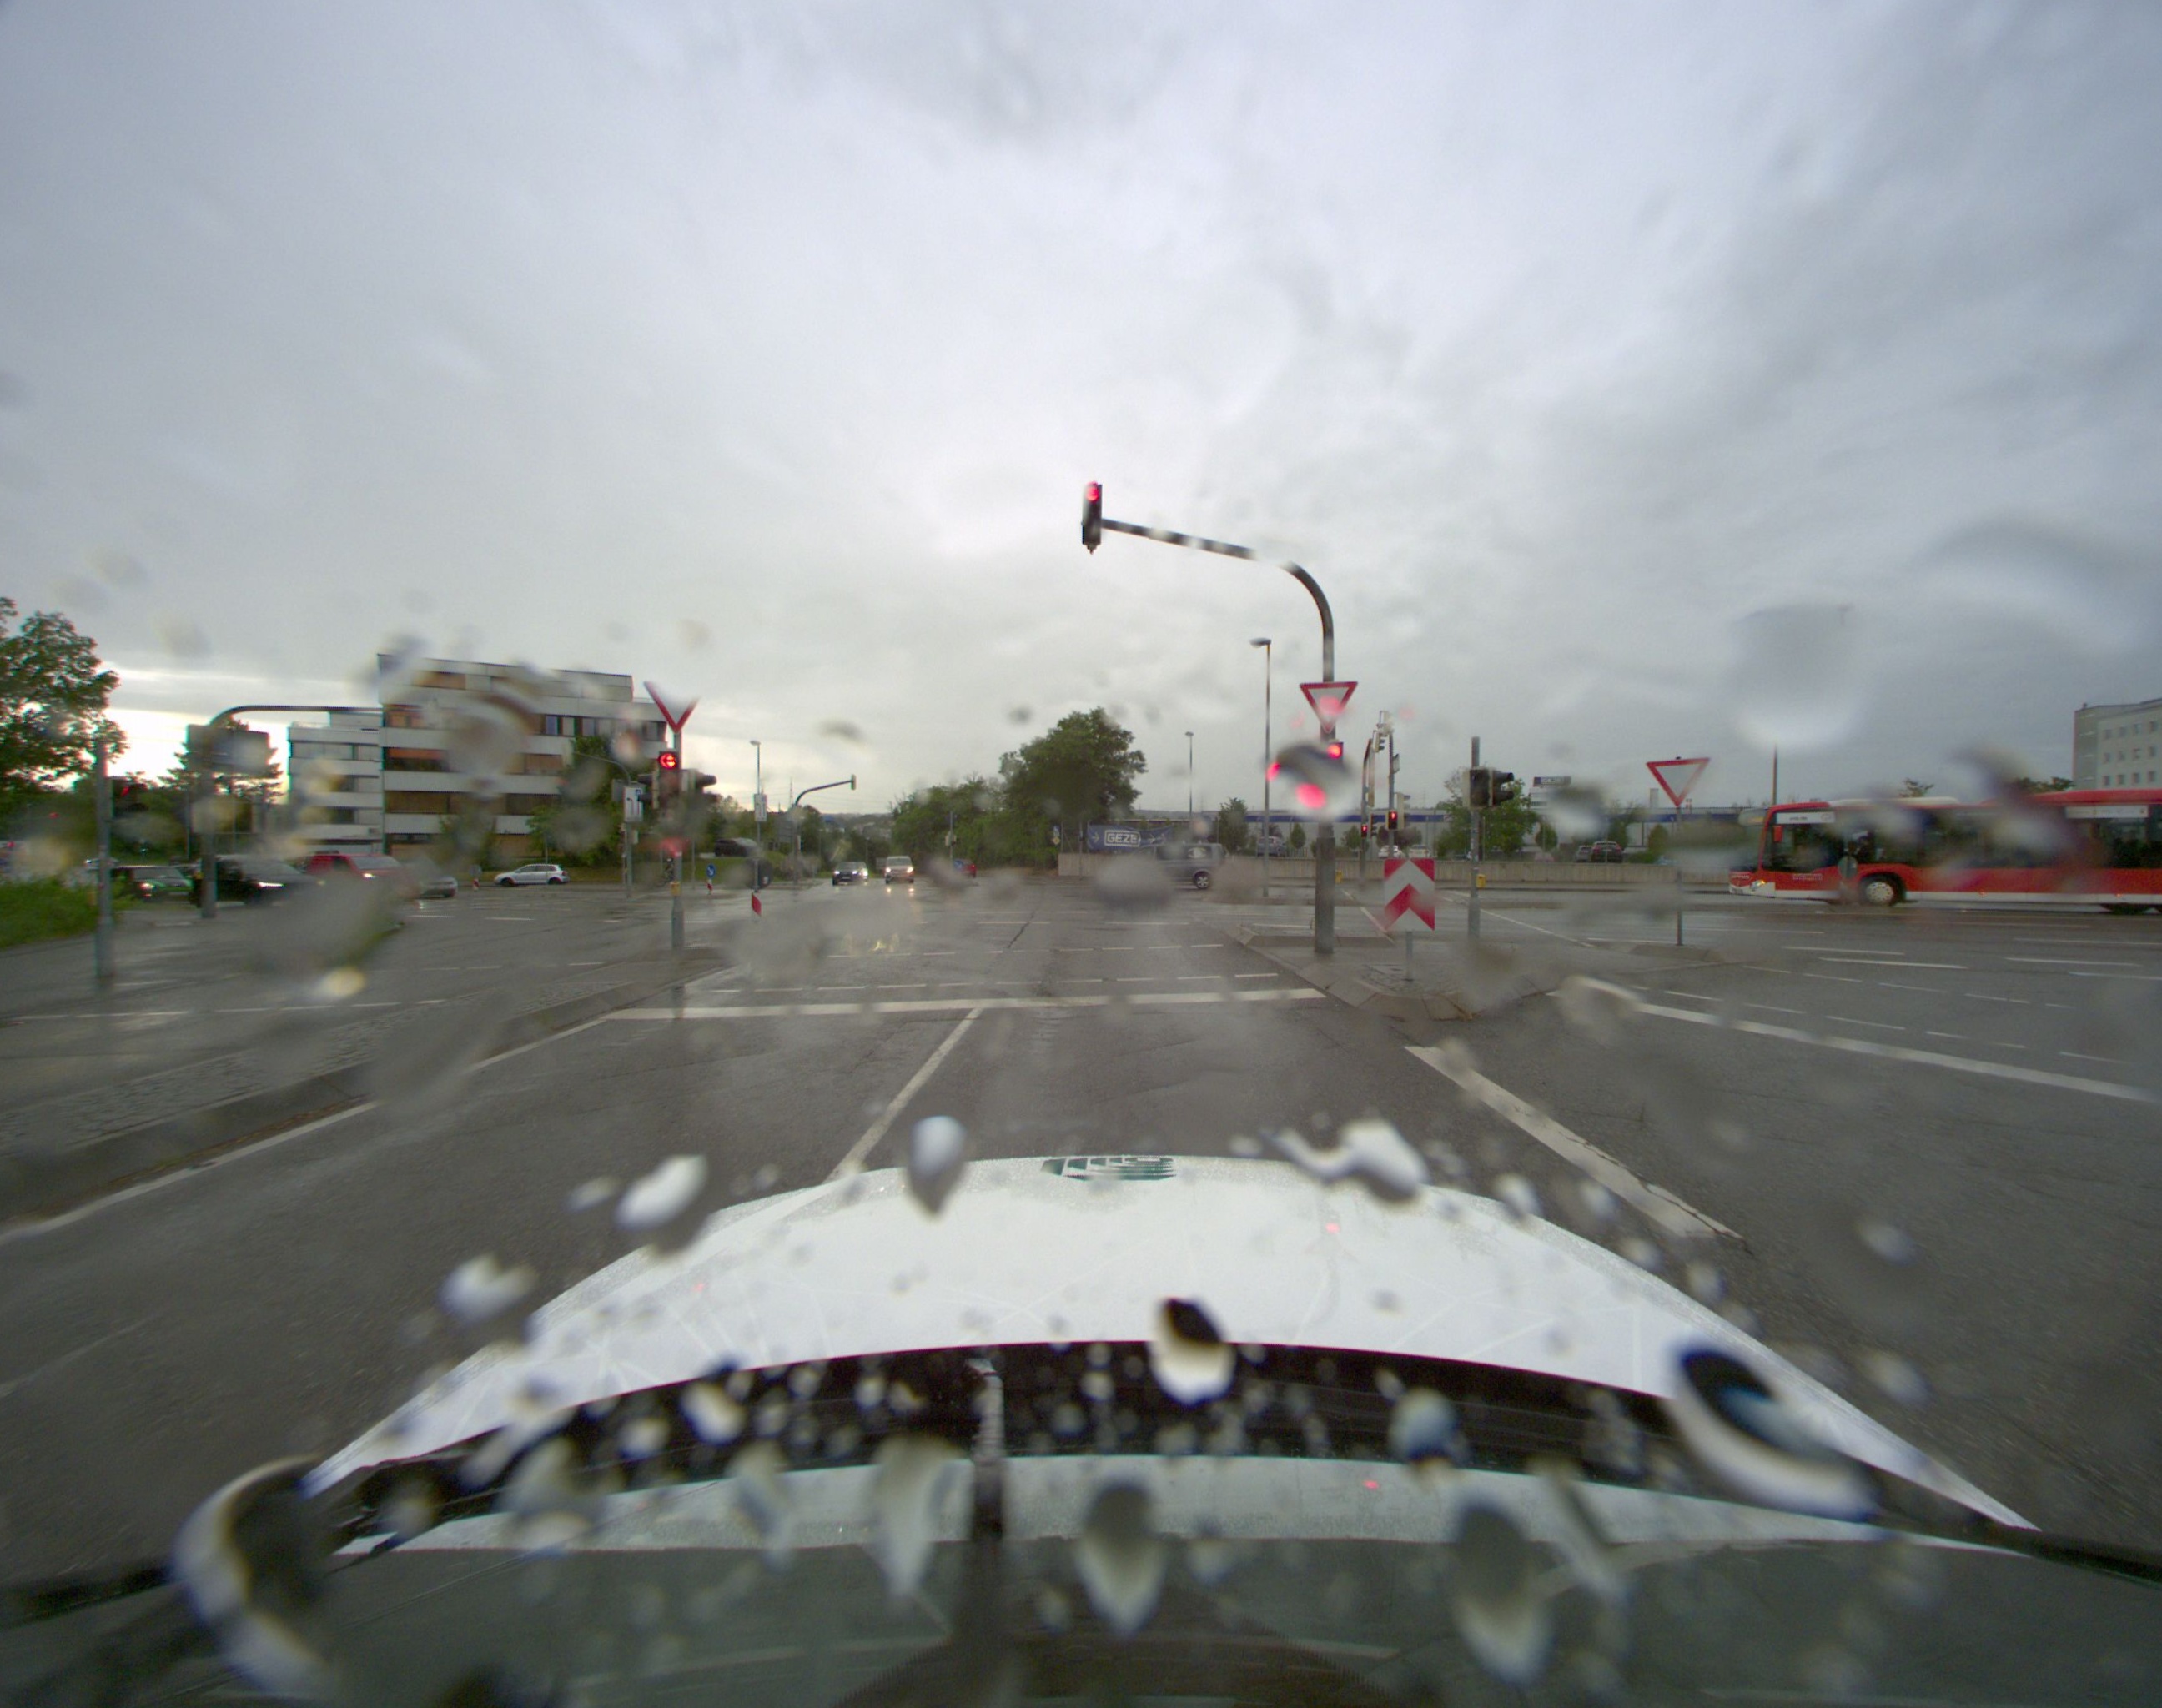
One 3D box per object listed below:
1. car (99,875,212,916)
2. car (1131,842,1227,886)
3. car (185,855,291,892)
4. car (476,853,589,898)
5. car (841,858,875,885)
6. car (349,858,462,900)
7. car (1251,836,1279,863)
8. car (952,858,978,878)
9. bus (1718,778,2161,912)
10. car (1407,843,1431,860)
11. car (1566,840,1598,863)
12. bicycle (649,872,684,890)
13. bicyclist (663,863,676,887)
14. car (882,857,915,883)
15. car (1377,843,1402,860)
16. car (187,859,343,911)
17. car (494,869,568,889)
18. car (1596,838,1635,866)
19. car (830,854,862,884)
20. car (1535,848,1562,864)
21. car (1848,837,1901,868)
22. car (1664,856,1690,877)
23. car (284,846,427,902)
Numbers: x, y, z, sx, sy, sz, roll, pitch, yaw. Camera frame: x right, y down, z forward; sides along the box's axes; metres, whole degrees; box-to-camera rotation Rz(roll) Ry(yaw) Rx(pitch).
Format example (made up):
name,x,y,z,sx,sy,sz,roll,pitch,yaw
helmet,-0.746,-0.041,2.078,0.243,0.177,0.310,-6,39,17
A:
name,x,y,z,sx,sy,sz,roll,pitch,yaw
car,-34.214,1.502,30.104,3.419,1.387,1.690,0,0,22
car,4.339,0.399,35.725,3.959,1.848,2.008,0,0,13
car,-48.812,1.085,47.179,4.960,2.013,2.008,0,0,14
car,-24.150,0.906,35.881,4.108,1.840,2.009,0,0,18
car,-16.974,1.280,62.104,1.992,1.895,3.990,0,0,-8
car,-28.660,1.023,34.565,3.952,1.684,2.011,0,0,22
car,14.291,-0.341,63.030,1.979,2.013,4.016,0,0,14
car,-9.313,1.081,65.260,1.618,1.448,3.788,1,1,-15
bus,25.466,-0.280,22.352,12.171,3.321,3.091,1,1,22
car,30.038,-0.250,72.388,1.976,1.478,4.022,0,0,22
car,38.579,-0.238,62.693,1.699,1.715,3.671,0,0,37
bicycle,-25.247,1.617,49.654,1.770,1.052,0.609,0,0,-4
bicyclist,-25.089,1.295,49.662,0.542,1.446,0.602,0,0,-4
car,-12.026,1.033,53.866,1.995,1.618,3.984,0,0,-12
car,27.745,-0.252,73.107,1.976,1.478,4.022,0,0,23
car,-28.330,1.064,28.286,4.578,1.679,2.045,-1,0,20
car,-33.970,1.556,50.369,3.521,1.105,1.806,0,0,-25
car,34.323,-0.138,52.228,1.749,1.715,3.671,0,0,39
car,-15.768,0.977,54.829,1.997,1.895,3.979,0,-1,-15
car,44.317,0.196,77.148,1.749,1.479,3.671,0,0,38
car,45.689,-0.112,46.951,1.749,1.715,3.671,0,0,38
car,53.282,1.102,72.779,1.749,1.715,3.671,0,0,38
car,-27.960,0.742,31.401,4.732,2.013,2.010,-1,0,19
